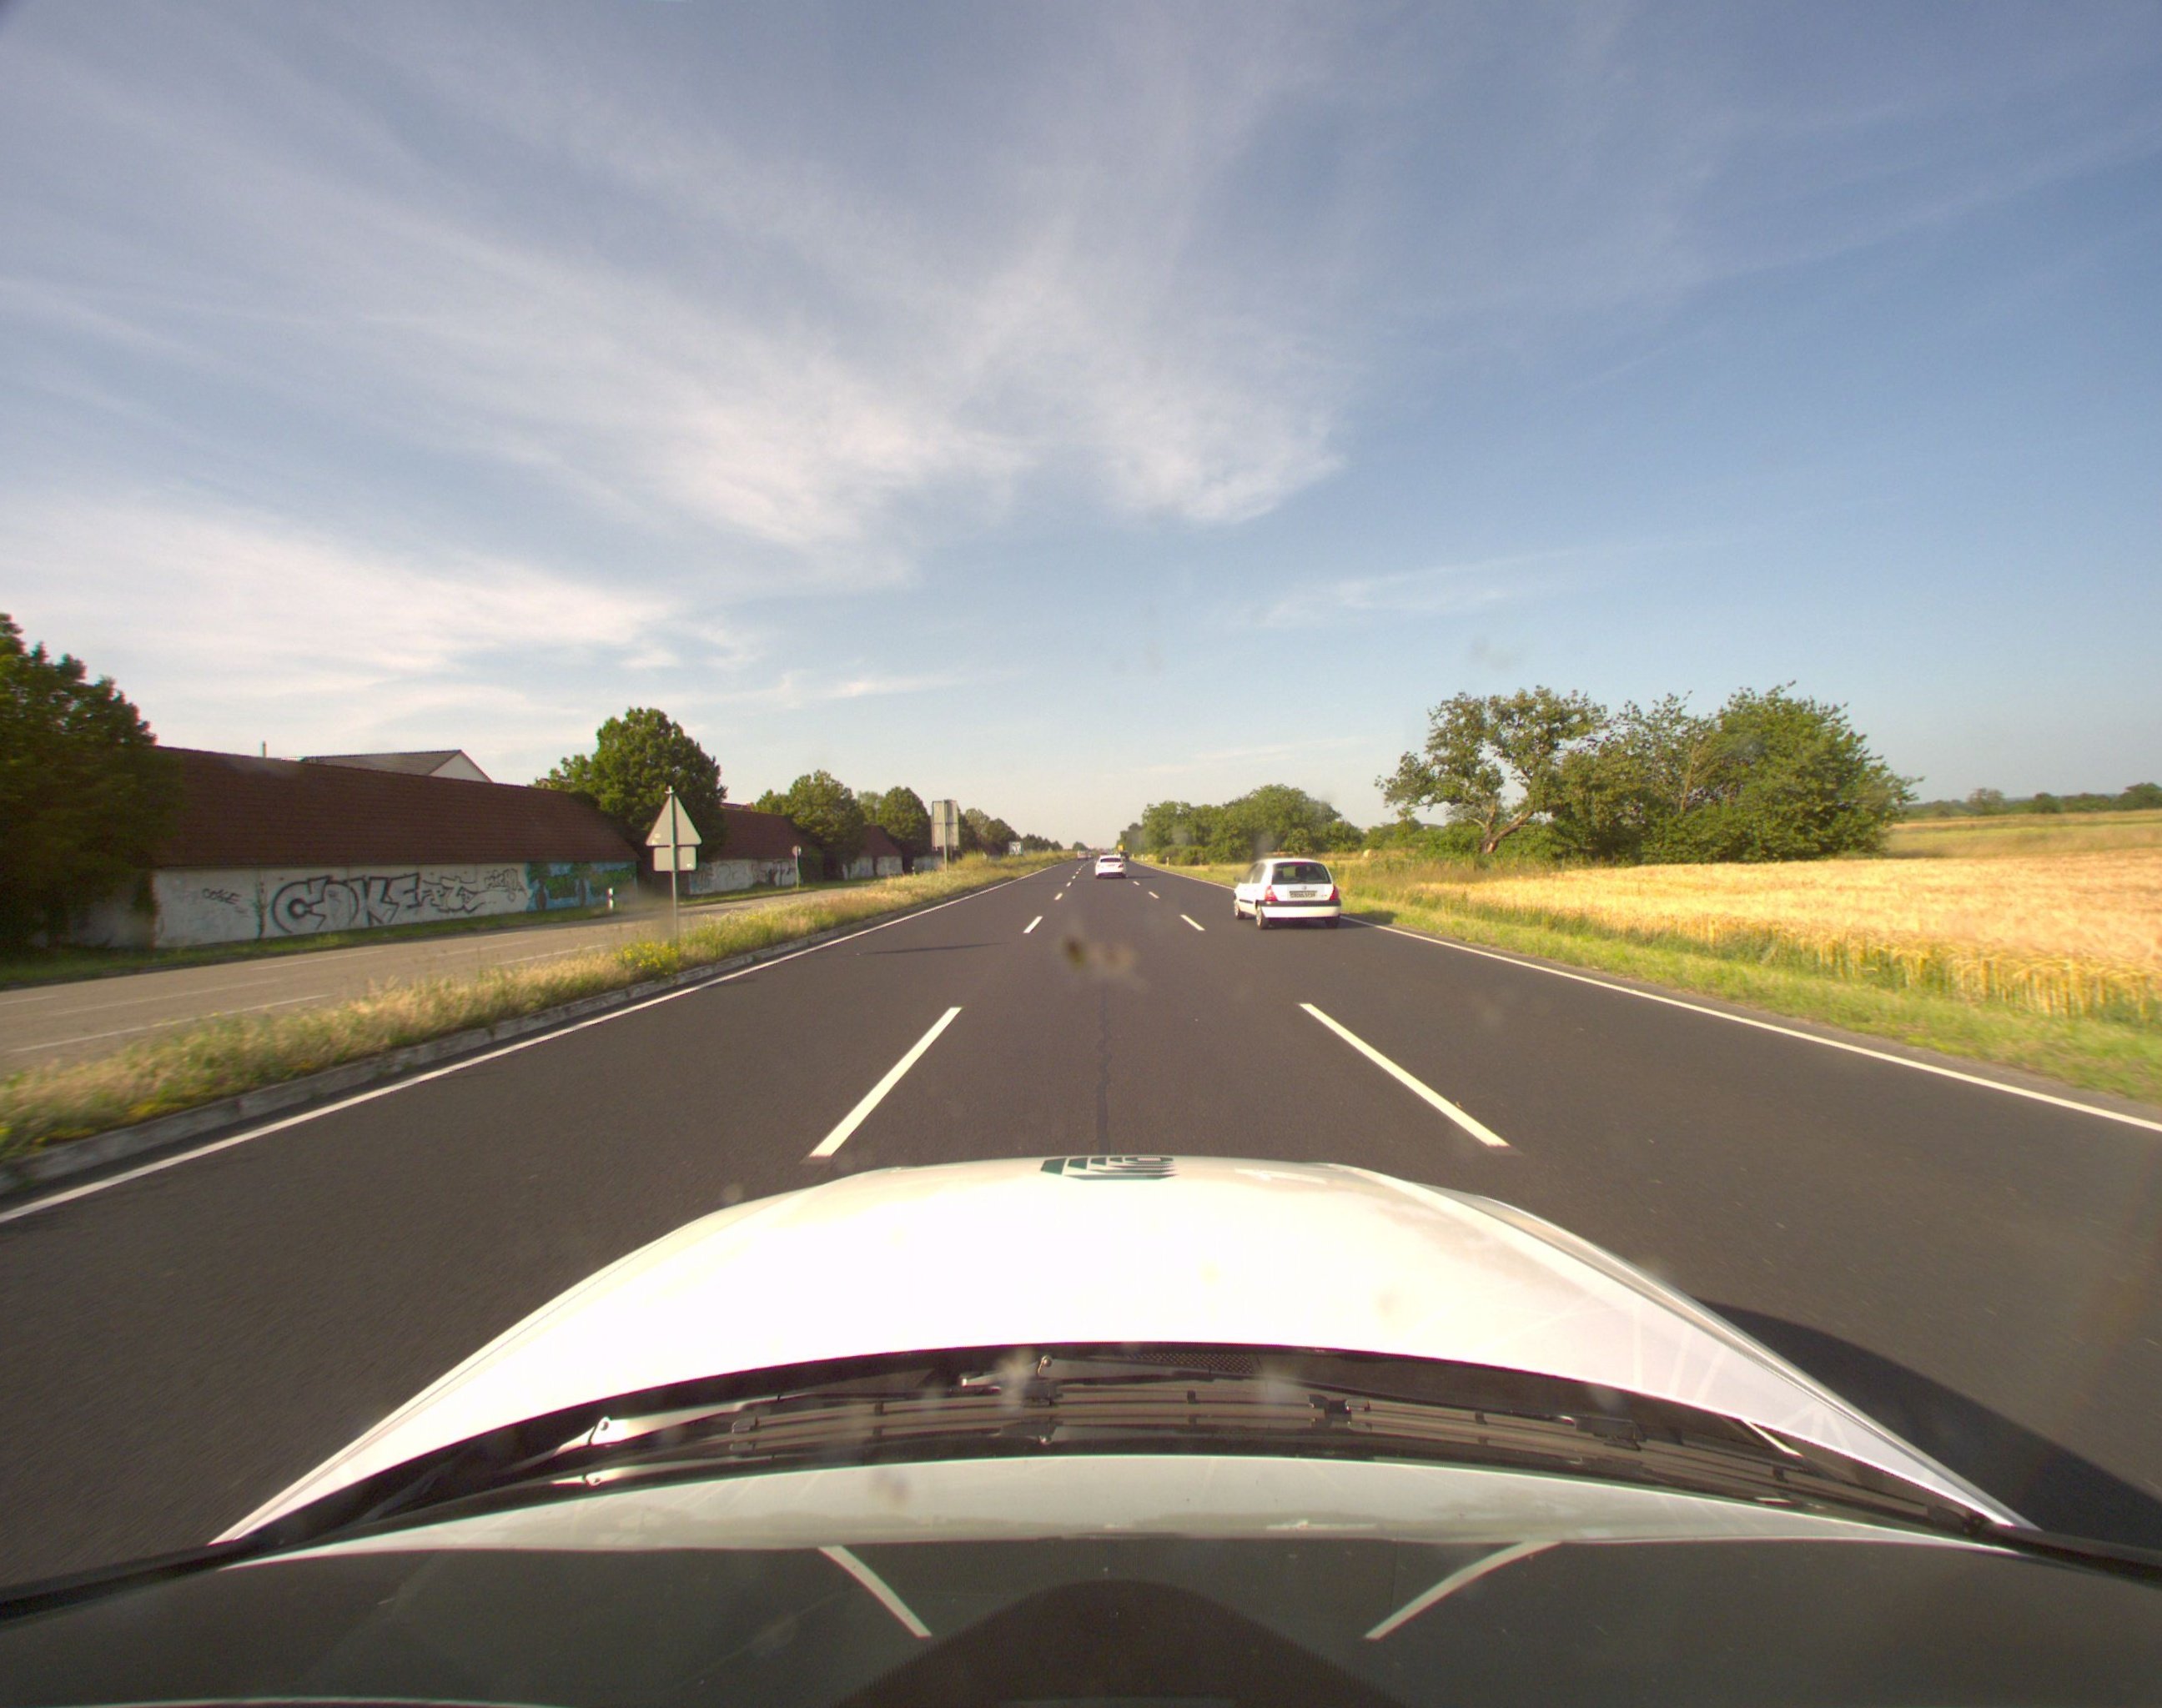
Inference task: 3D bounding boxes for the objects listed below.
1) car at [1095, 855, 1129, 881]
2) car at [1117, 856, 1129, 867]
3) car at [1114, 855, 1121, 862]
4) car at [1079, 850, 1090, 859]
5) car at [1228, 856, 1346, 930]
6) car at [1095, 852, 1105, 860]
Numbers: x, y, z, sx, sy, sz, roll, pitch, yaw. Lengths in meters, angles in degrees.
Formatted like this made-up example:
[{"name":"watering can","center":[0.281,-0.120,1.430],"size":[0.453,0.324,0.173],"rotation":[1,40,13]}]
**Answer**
[{"name":"car","center":[1.921,0.859,50.826],"size":[1.986,1.516,4.001],"rotation":[-1,-1,2]},{"name":"car","center":[6.566,1.227,128.000],"size":[1.821,1.728,4.001],"rotation":[-1,-1,1]},{"name":"car","center":[9.595,1.153,213.049],"size":[1.795,1.904,3.562],"rotation":[-1,-1,3]},{"name":"car","center":[0.629,0.165,152.490],"size":[1.751,1.618,4.004],"rotation":[-1,-1,4]},{"name":"car","center":[4.261,0.766,17.448],"size":[1.611,1.387,3.952],"rotation":[-1,-1,1]},{"name":"car","center":[3.520,0.386,151.683],"size":[1.805,1.436,3.859],"rotation":[-1,-1,1]}]
